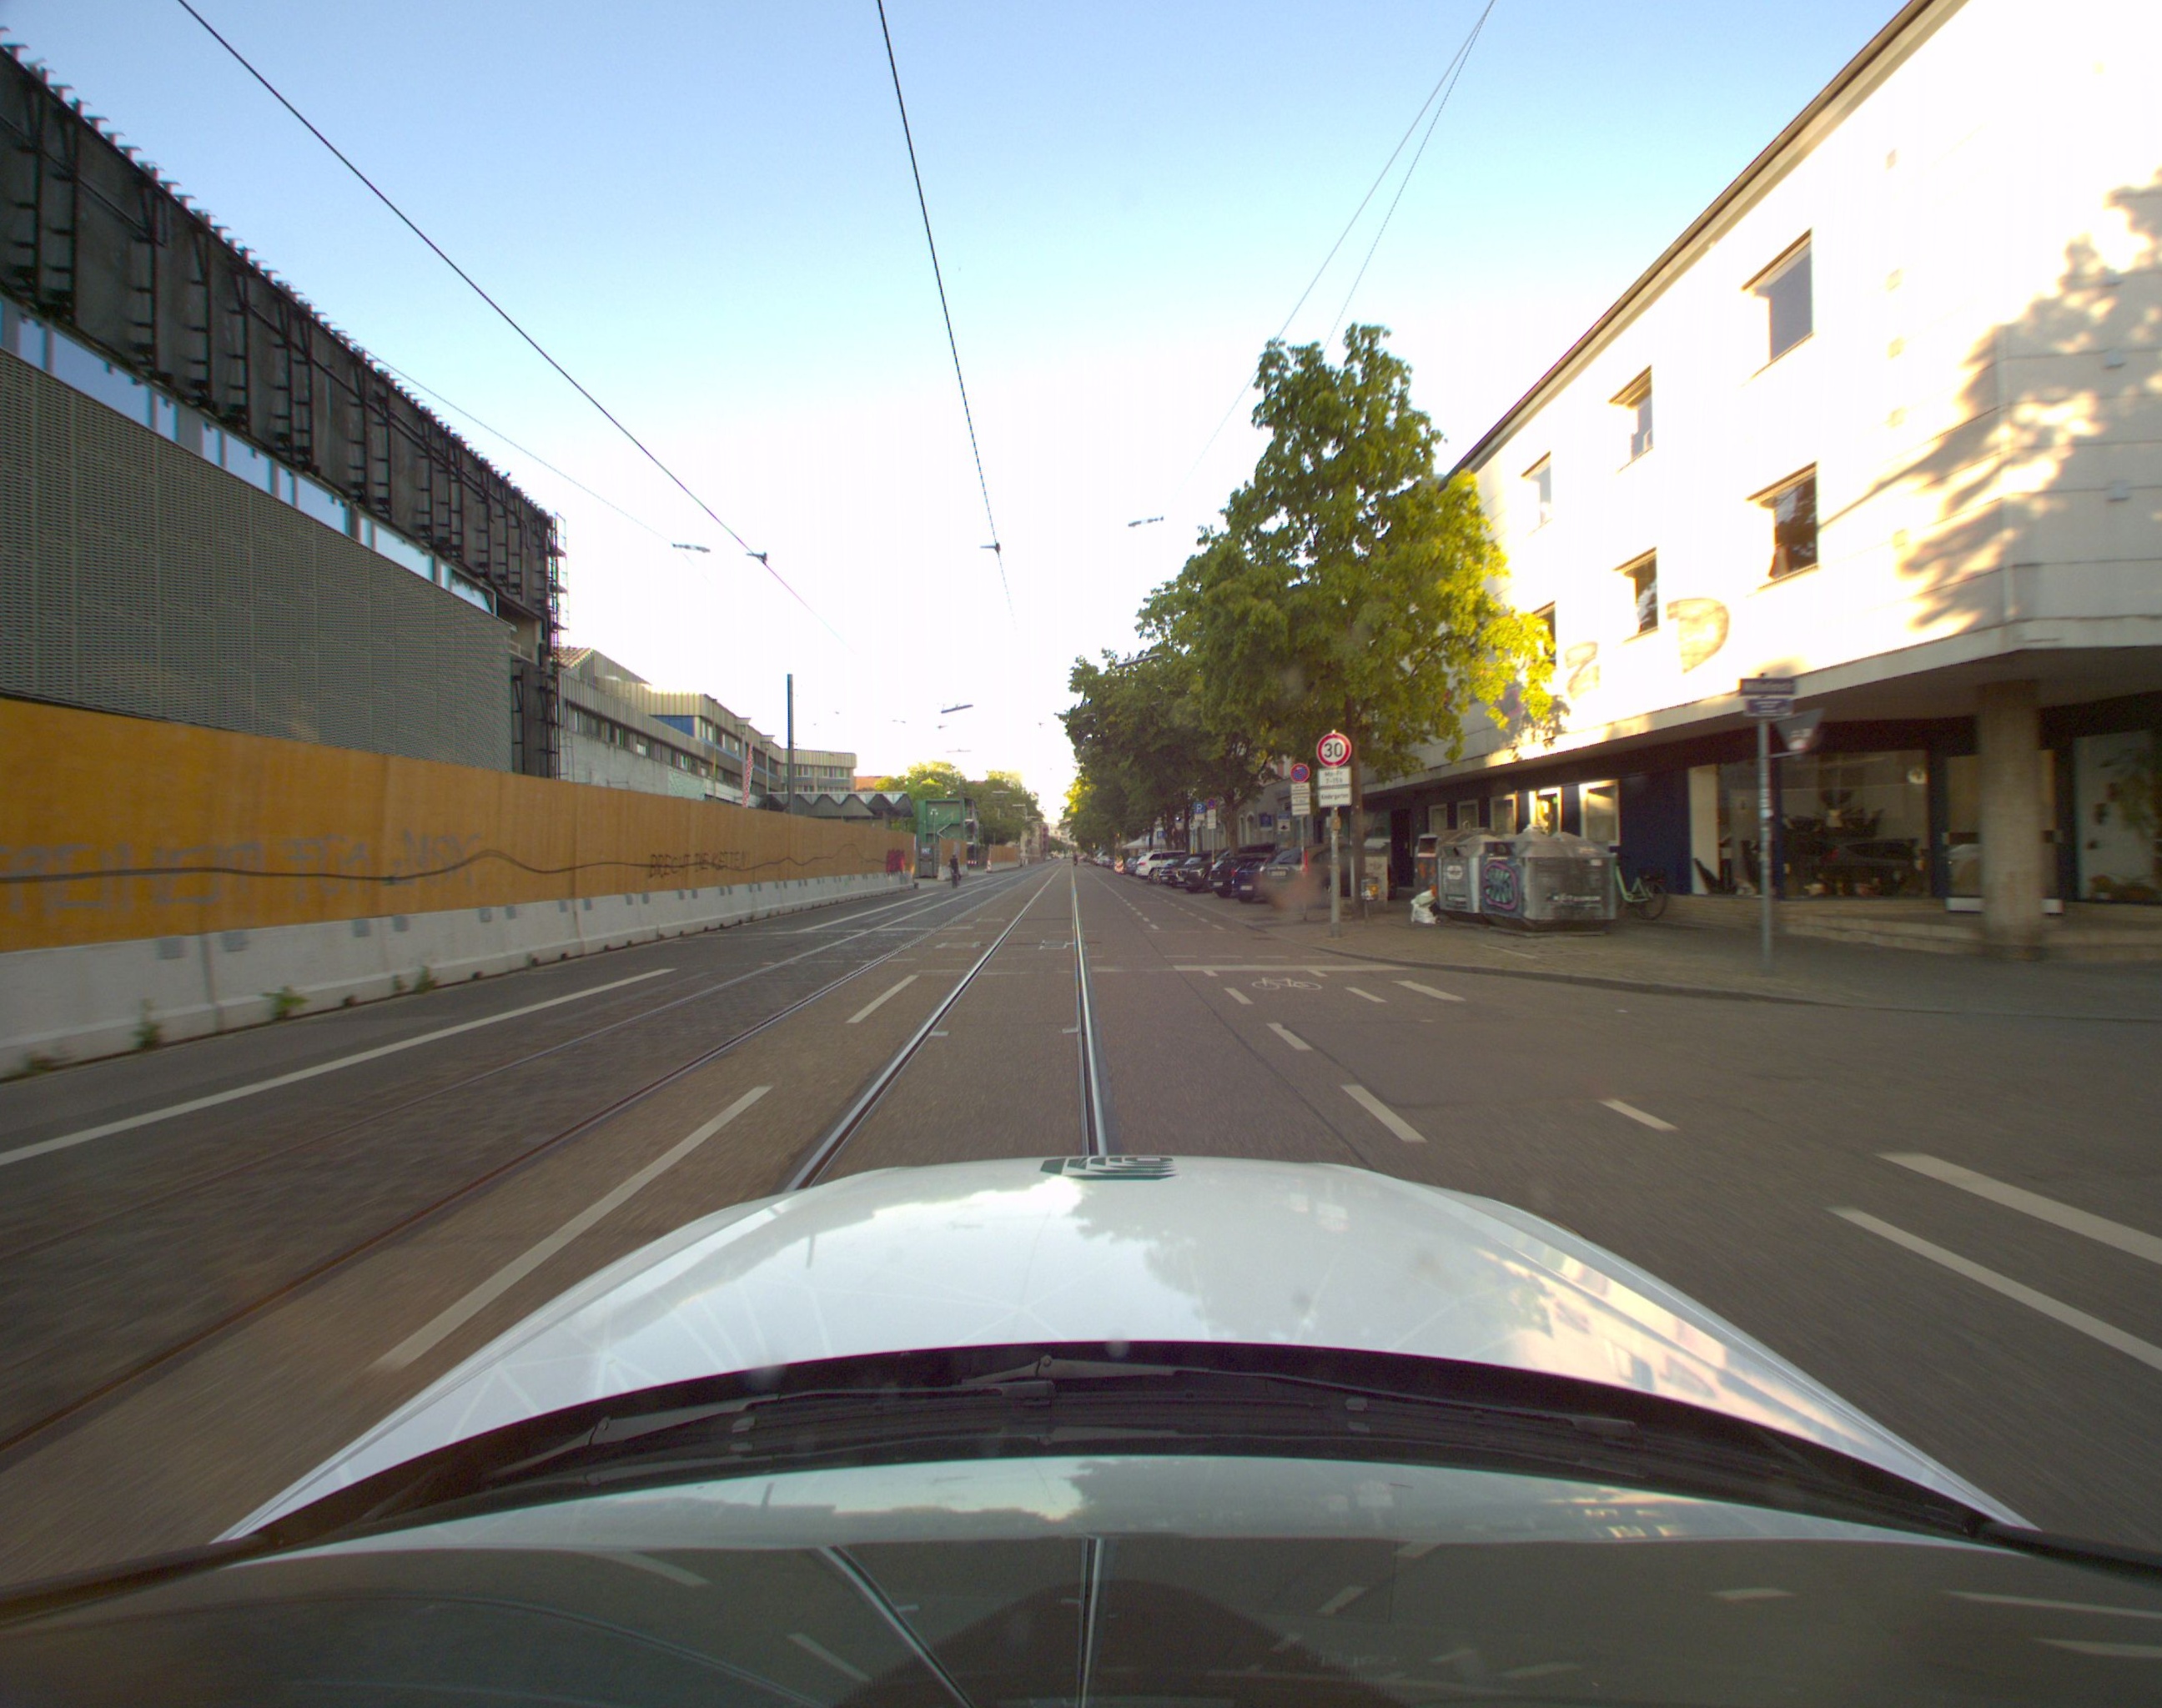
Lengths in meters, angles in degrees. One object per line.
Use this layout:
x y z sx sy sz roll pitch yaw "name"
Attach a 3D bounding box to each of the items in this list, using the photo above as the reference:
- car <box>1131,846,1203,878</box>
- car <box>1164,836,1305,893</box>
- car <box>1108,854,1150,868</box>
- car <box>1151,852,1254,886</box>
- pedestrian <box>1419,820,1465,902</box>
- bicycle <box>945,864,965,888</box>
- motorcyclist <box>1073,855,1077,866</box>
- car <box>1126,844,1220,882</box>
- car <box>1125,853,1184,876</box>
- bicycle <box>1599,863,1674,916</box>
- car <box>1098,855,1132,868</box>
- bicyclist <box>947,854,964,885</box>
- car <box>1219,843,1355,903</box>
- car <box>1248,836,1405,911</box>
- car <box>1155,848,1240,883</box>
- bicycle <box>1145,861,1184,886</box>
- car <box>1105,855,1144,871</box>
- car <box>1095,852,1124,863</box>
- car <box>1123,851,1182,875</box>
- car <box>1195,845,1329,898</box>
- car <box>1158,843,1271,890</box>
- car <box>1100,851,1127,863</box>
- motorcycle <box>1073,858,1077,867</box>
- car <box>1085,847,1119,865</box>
5.519 0.536 52.475 4.173 1.806 1.989 -3 0 -30 "car"
6.069 0.379 32.216 4.980 1.826 2.194 -4 0 -19 "car"
5.188 0.716 88.501 4.176 1.426 1.811 -1 0 -20 "car"
5.538 0.648 37.189 4.230 1.426 1.961 -1 0 -23 "car"
9.136 0.178 20.653 0.690 1.985 0.785 -4 0 -1 "pedestrian"
-6.742 1.158 43.687 0.766 1.228 1.935 -1 0 -1 "bicycle"
-0.909 1.020 129.160 0.643 1.697 1.025 -1 -1 -2 "motorcyclist"
4.901 0.472 43.840 4.643 1.688 2.003 -4 0 -7 "car"
5.241 0.749 57.908 3.793 1.408 1.691 -3 0 -27 "car"
10.083 0.627 14.829 0.340 0.882 1.325 -4 0 -3 "bicycle"
4.610 1.070 111.126 4.253 1.549 2.011 -3 -1 -12 "car"
-6.734 0.825 43.709 0.766 1.665 1.017 -1 0 -1 "bicyclist"
6.380 0.556 25.118 3.908 1.502 1.795 -4 0 -32 "car"
6.720 0.498 22.104 4.186 1.664 1.822 -4 0 -36 "car"
5.722 0.573 39.901 3.766 1.426 1.713 -4 0 -26 "car"
4.286 0.992 41.748 1.838 1.102 0.495 -4 0 -15 "bicycle"
4.995 1.017 93.651 4.130 1.470 1.811 -4 0 -20 "car"
4.494 0.600 128.406 3.970 1.486 1.905 -2 -1 -25 "car"
5.305 0.657 60.541 3.983 1.553 1.691 -3 0 -27 "car"
6.240 0.579 28.020 4.180 1.465 1.953 -4 0 -29 "car"
5.624 0.518 34.404 4.226 1.649 1.963 -4 0 -19 "car"
4.995 0.462 124.572 3.938 1.620 1.920 -3 -1 -1 "car"
-0.907 1.333 129.066 0.643 1.369 1.810 -1 -1 -2 "motorcycle"
3.408 0.345 133.027 5.109 2.642 2.009 -3 -1 -18 "car"
